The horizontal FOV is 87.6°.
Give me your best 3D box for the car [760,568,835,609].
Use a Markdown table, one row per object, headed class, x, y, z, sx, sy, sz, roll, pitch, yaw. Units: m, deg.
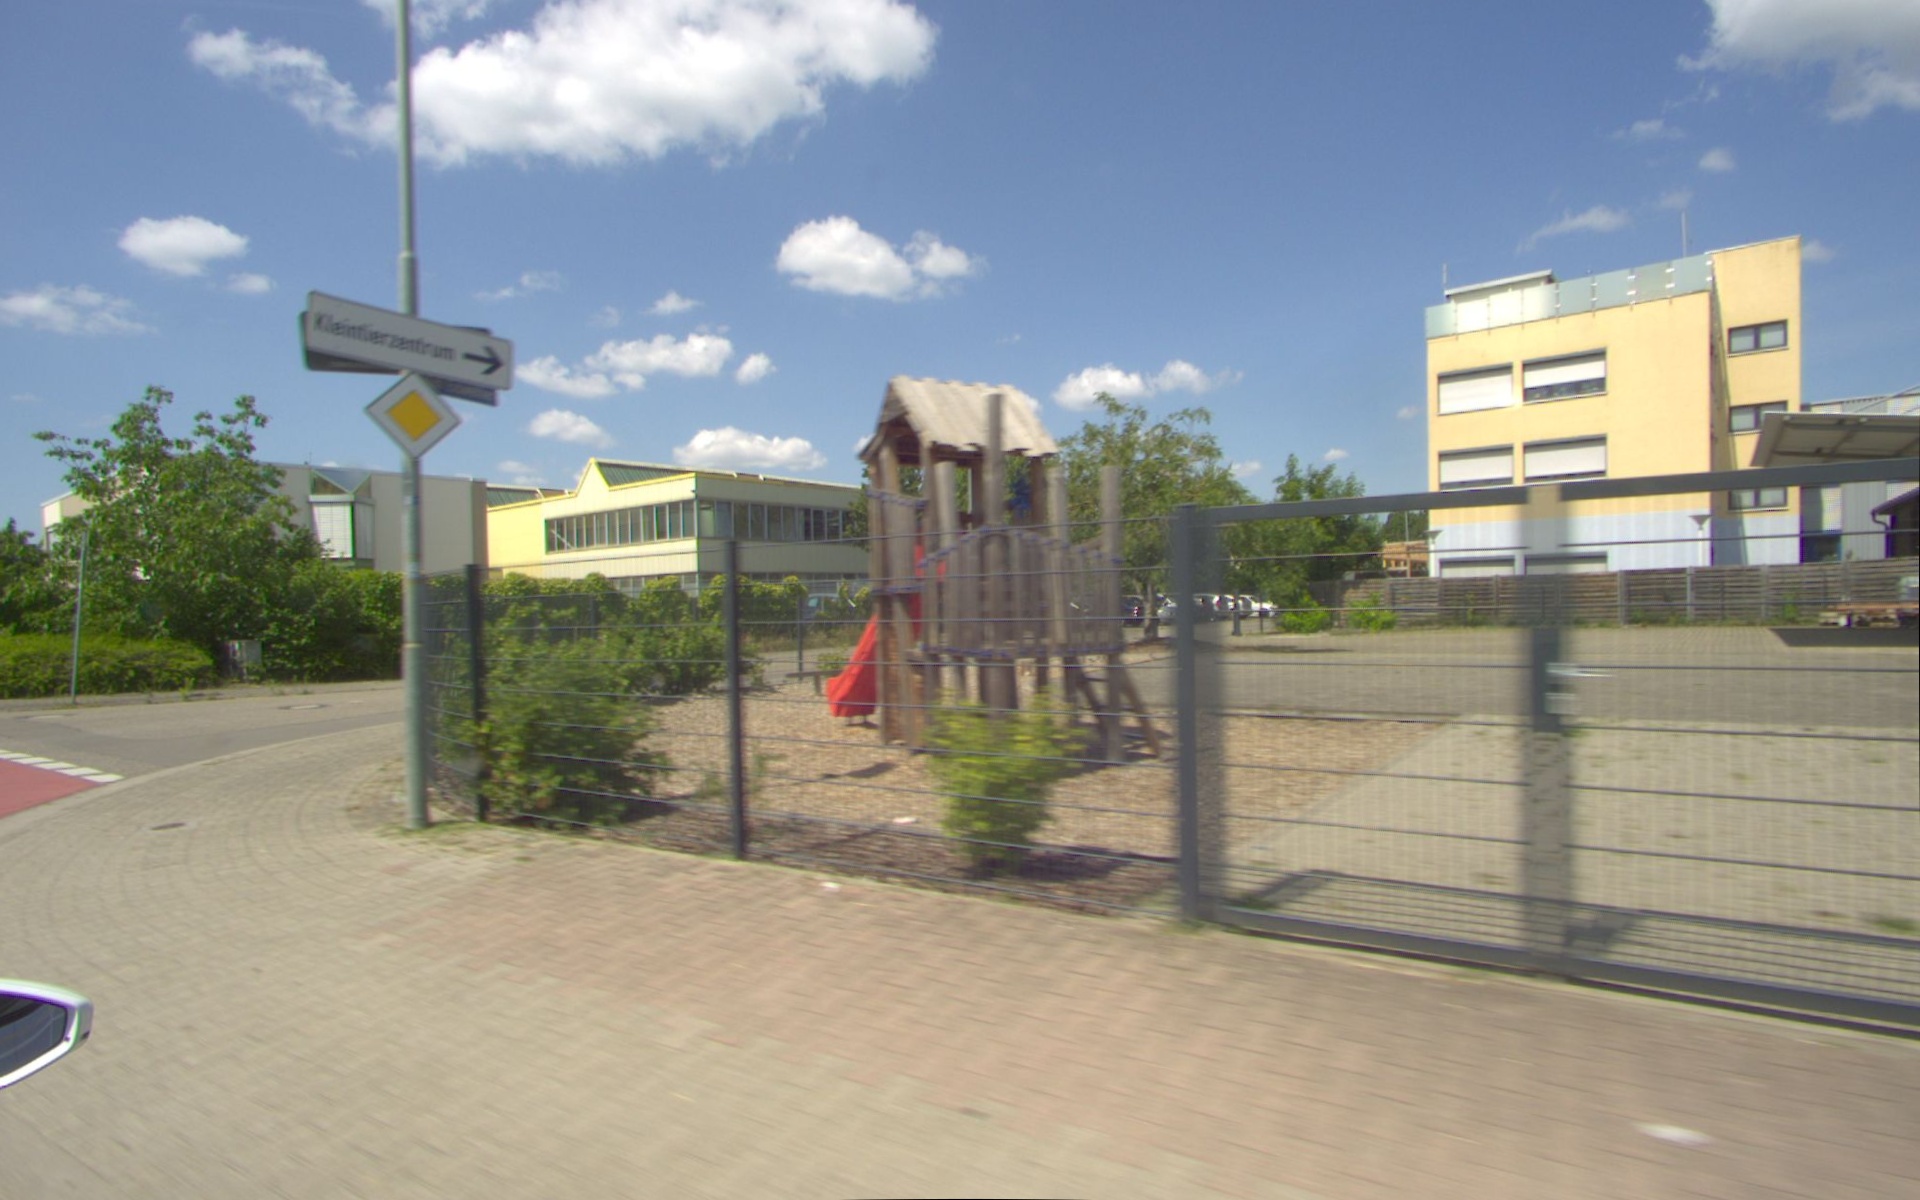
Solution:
| class | x | y | z | sx | sy | sz | roll | pitch | yaw |
| --- | --- | --- | --- | --- | --- | --- | --- | --- | --- |
| car | -9.090 | -0.611 | 55.930 | 3.956 | 2.040 | 1.983 | -4 | -1 | 41 |
